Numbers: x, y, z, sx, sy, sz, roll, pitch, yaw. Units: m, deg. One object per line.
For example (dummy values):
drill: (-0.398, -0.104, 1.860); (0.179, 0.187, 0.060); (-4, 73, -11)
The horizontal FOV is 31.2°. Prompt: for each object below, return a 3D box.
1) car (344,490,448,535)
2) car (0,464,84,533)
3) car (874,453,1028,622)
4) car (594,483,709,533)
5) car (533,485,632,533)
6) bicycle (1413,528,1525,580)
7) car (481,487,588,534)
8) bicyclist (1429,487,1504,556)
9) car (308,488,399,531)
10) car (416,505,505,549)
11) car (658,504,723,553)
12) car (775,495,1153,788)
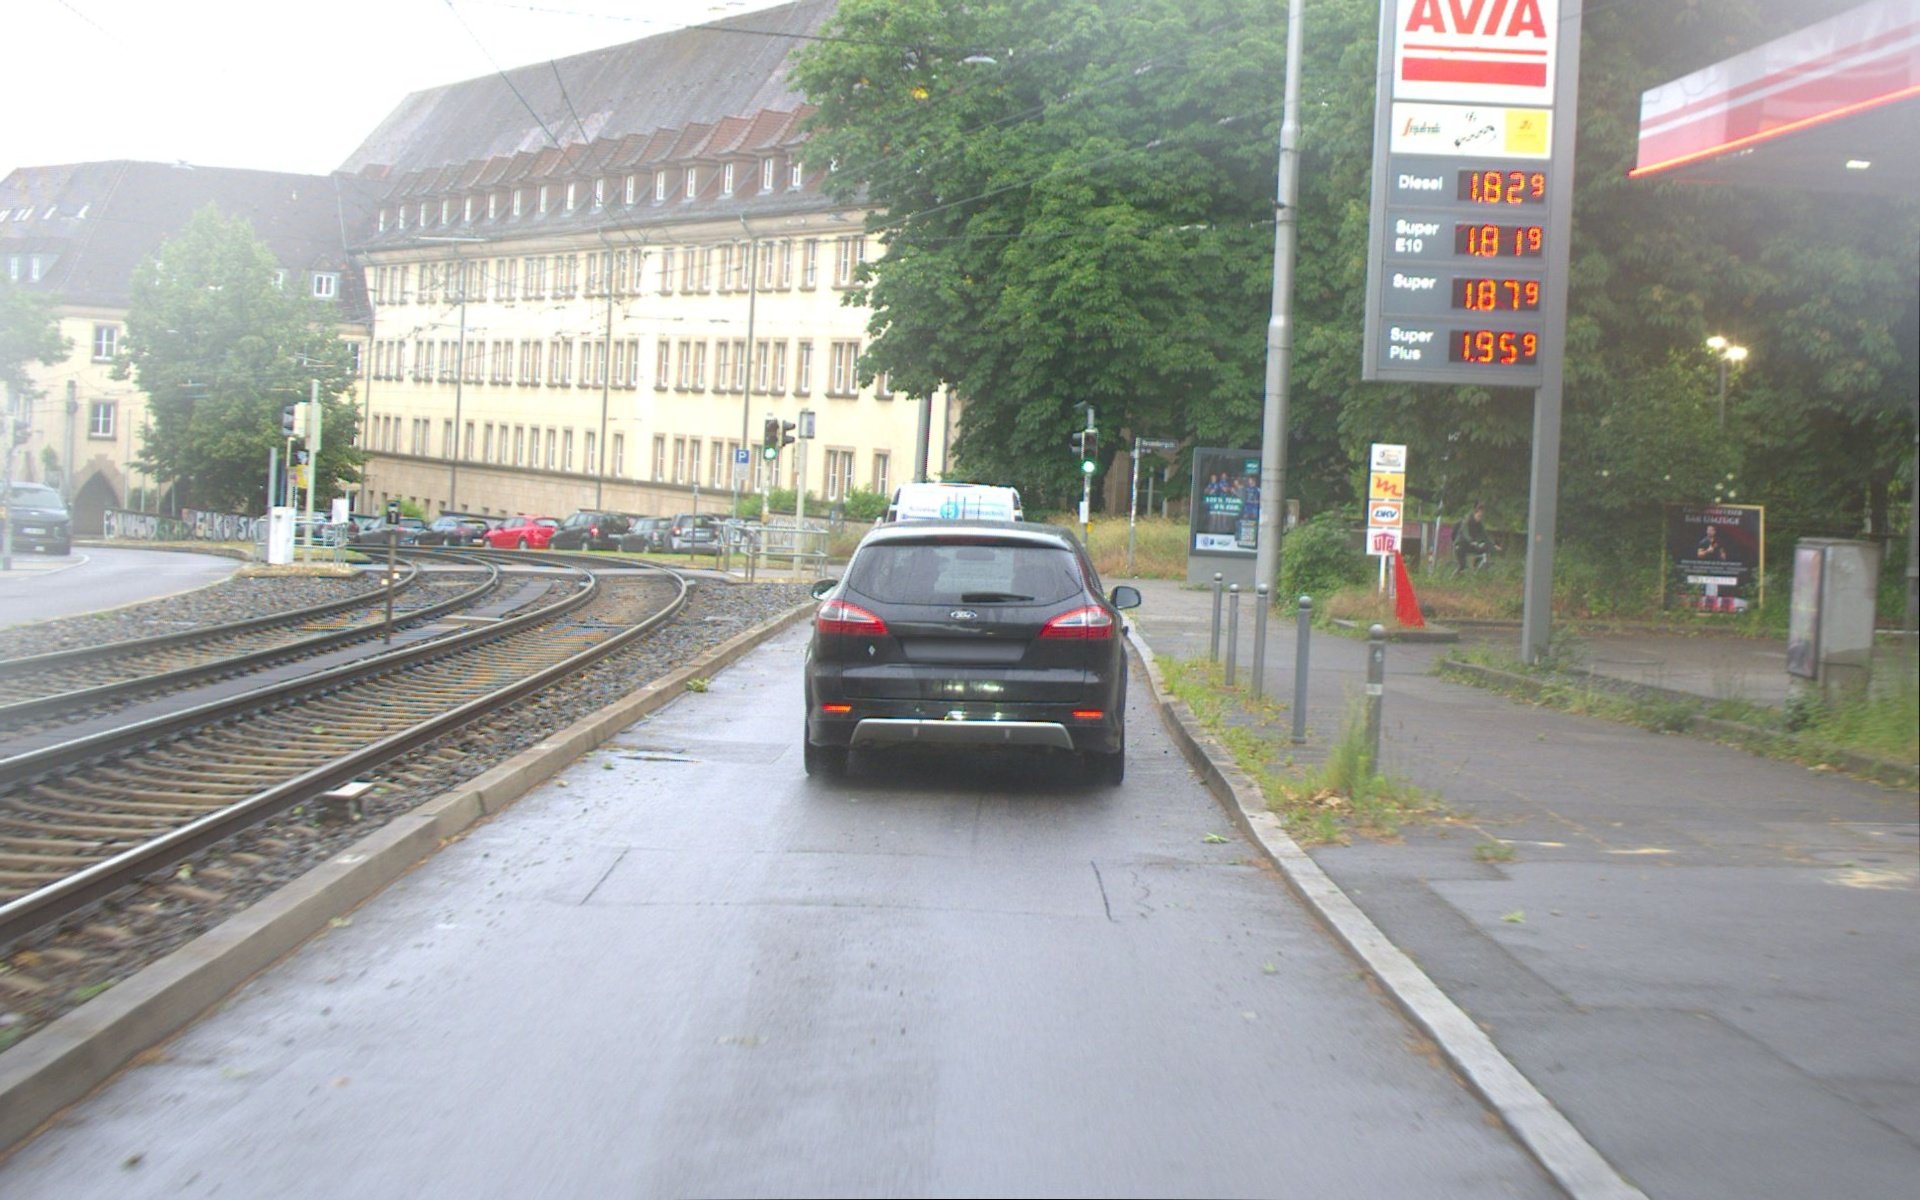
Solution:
car: (-21.588, -3.351, 131.631); (1.994, 1.537, 3.998); (2, 1, -43)
car: (-21.998, -2.405, 81.789); (1.993, 1.537, 4.001); (2, 1, -12)
car: (-0.158, -0.804, 44.362); (1.740, 2.007, 3.904); (3, 1, -3)
car: (-10.300, -3.073, 114.589); (1.994, 1.537, 4.000); (2, 1, -36)
car: (-13.121, -3.171, 119.362); (1.581, 1.537, 4.000); (2, 1, -36)
bicycle: (8.866, -0.810, 59.945); (0.736, 0.865, 1.997); (0, 2, -35)
car: (-15.349, -3.224, 123.776); (1.994, 1.537, 3.999); (2, 1, -38)
bicyclist: (8.813, -1.371, 59.842); (0.736, 1.175, 1.077); (0, 2, -35)
car: (-23.964, -3.567, 135.743); (1.994, 1.537, 4.000); (2, 1, -35)
car: (-18.673, -2.719, 128.357); (1.993, 1.537, 4.001); (0, 2, -29)
car: (-8.719, -2.306, 110.953); (1.656, 1.471, 3.645); (2, 1, -11)
car: (0.067, 0.190, 20.474); (1.933, 1.448, 4.317); (3, 1, 1)
